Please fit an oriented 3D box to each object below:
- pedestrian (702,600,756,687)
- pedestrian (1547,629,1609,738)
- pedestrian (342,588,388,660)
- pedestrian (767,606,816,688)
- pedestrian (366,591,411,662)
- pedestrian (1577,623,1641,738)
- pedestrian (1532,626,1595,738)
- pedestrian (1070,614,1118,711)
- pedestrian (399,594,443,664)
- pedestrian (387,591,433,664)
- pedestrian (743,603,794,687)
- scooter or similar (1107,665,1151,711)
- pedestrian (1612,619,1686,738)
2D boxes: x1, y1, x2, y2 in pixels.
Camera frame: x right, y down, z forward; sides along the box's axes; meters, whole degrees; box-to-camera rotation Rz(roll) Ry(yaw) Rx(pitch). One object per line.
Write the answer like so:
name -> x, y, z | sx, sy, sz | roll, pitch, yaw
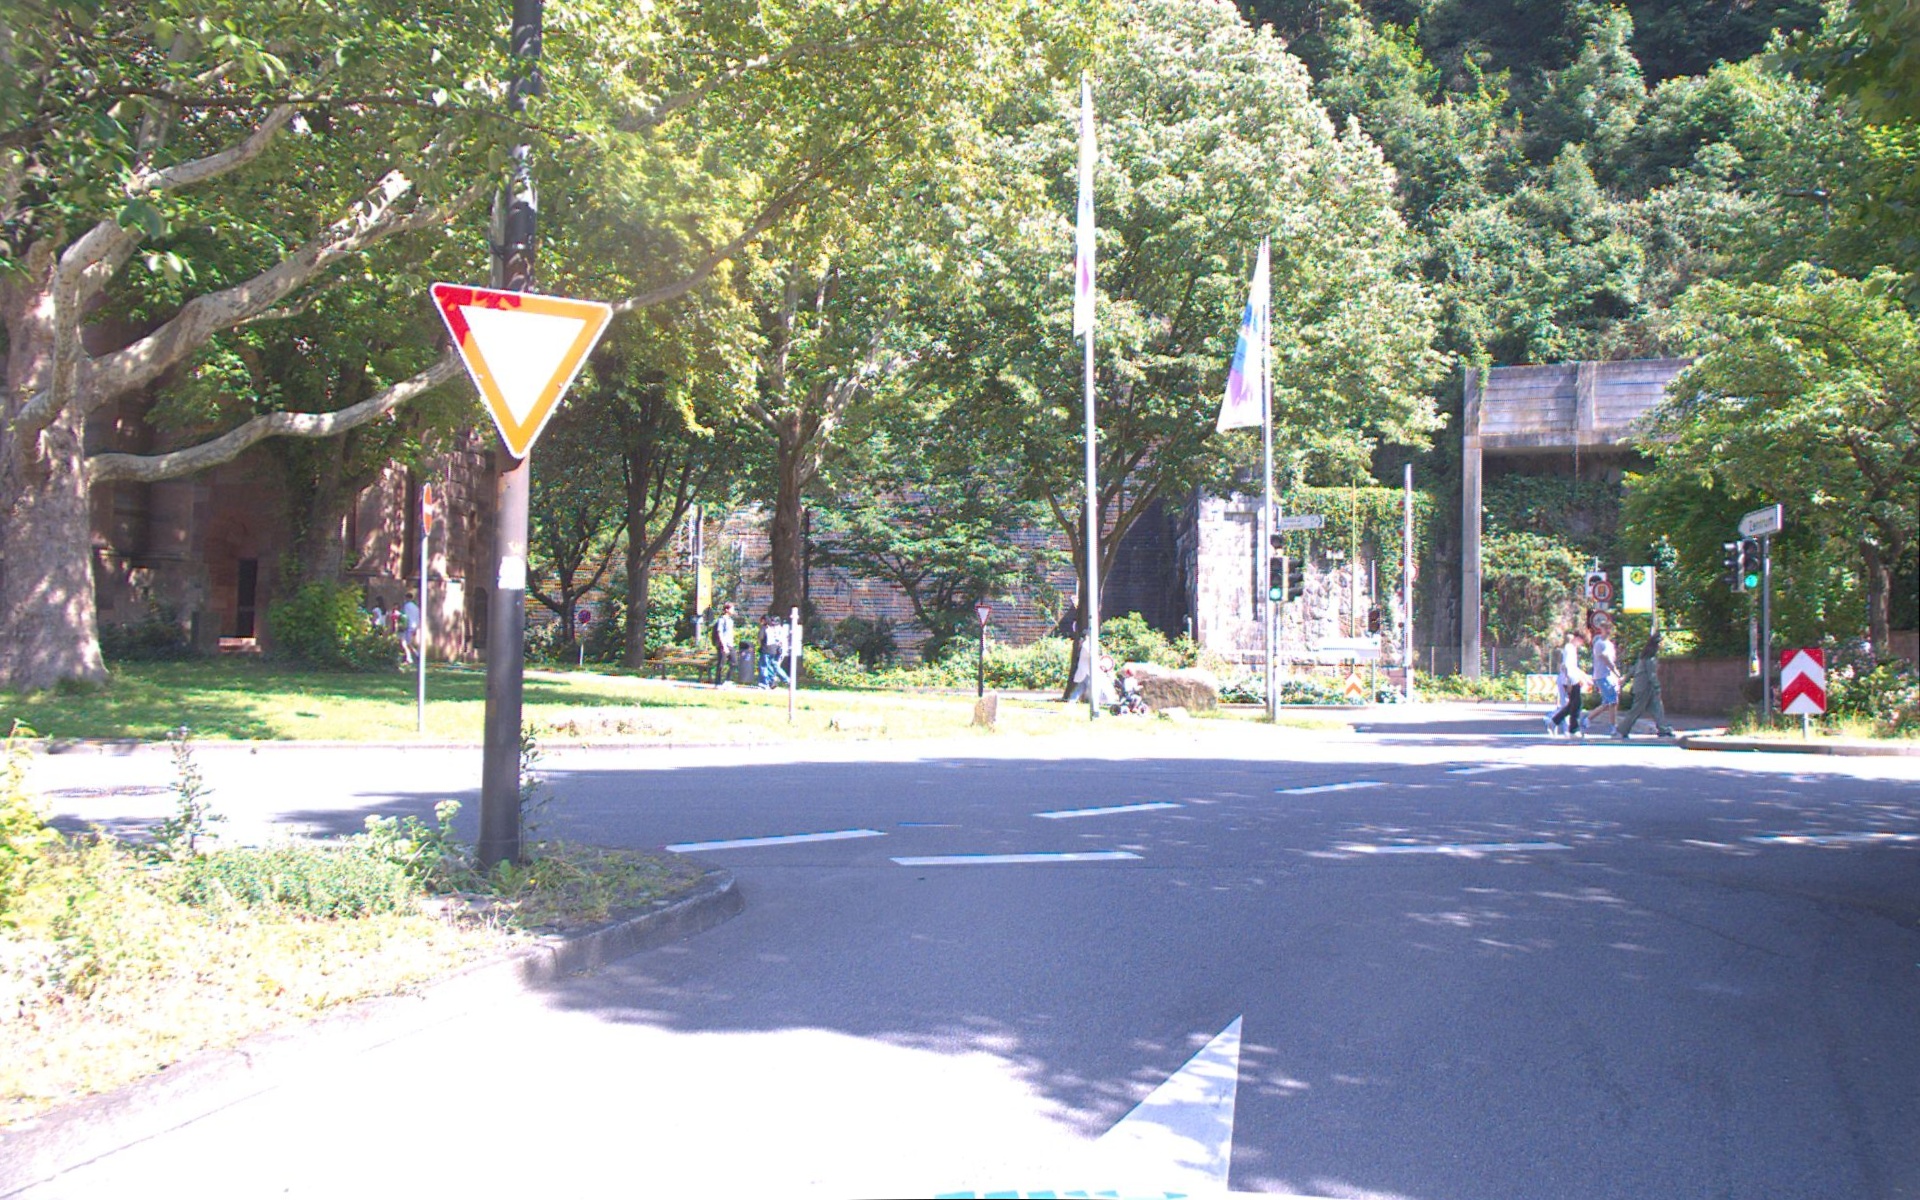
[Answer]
pedestrian -> -4.878, 0.915, 34.926 | 0.708, 1.787, 0.791 | 1, -3, 38
pedestrian -> 10.382, 1.400, 27.786 | 0.747, 1.787, 0.761 | 1, -3, 38
pedestrian -> -15.041, 0.610, 41.811 | 0.652, 1.787, 0.791 | 1, -3, 38
pedestrian -> -3.754, 1.052, 36.796 | 0.652, 1.787, 0.791 | 1, -3, 38
pedestrian -> -14.714, 0.686, 42.608 | 0.652, 1.787, 0.791 | 1, -3, 38
pedestrian -> 10.399, 1.294, 26.489 | 0.747, 1.787, 0.761 | 1, -3, 38
pedestrian -> 9.916, 1.341, 27.154 | 0.747, 1.787, 0.761 | 1, -3, 38
pedestrian -> 2.516, 1.161, 31.109 | 0.745, 1.786, 0.764 | 1, -1, -5
pedestrian -> -14.060, 0.766, 43.161 | 0.652, 1.787, 0.791 | 1, -3, 38
pedestrian -> -13.985, 0.698, 42.050 | 0.652, 1.787, 0.791 | 1, -3, 38
pedestrian -> -4.174, 0.990, 36.055 | 0.652, 1.787, 0.791 | 1, -3, 38
scooter or similar -> 3.194, 1.655, 31.249 | 0.717, 0.826, 0.569 | 1, -1, -8
pedestrian -> 10.736, 1.224, 25.764 | 0.850, 1.787, 0.798 | 1, -3, 38
